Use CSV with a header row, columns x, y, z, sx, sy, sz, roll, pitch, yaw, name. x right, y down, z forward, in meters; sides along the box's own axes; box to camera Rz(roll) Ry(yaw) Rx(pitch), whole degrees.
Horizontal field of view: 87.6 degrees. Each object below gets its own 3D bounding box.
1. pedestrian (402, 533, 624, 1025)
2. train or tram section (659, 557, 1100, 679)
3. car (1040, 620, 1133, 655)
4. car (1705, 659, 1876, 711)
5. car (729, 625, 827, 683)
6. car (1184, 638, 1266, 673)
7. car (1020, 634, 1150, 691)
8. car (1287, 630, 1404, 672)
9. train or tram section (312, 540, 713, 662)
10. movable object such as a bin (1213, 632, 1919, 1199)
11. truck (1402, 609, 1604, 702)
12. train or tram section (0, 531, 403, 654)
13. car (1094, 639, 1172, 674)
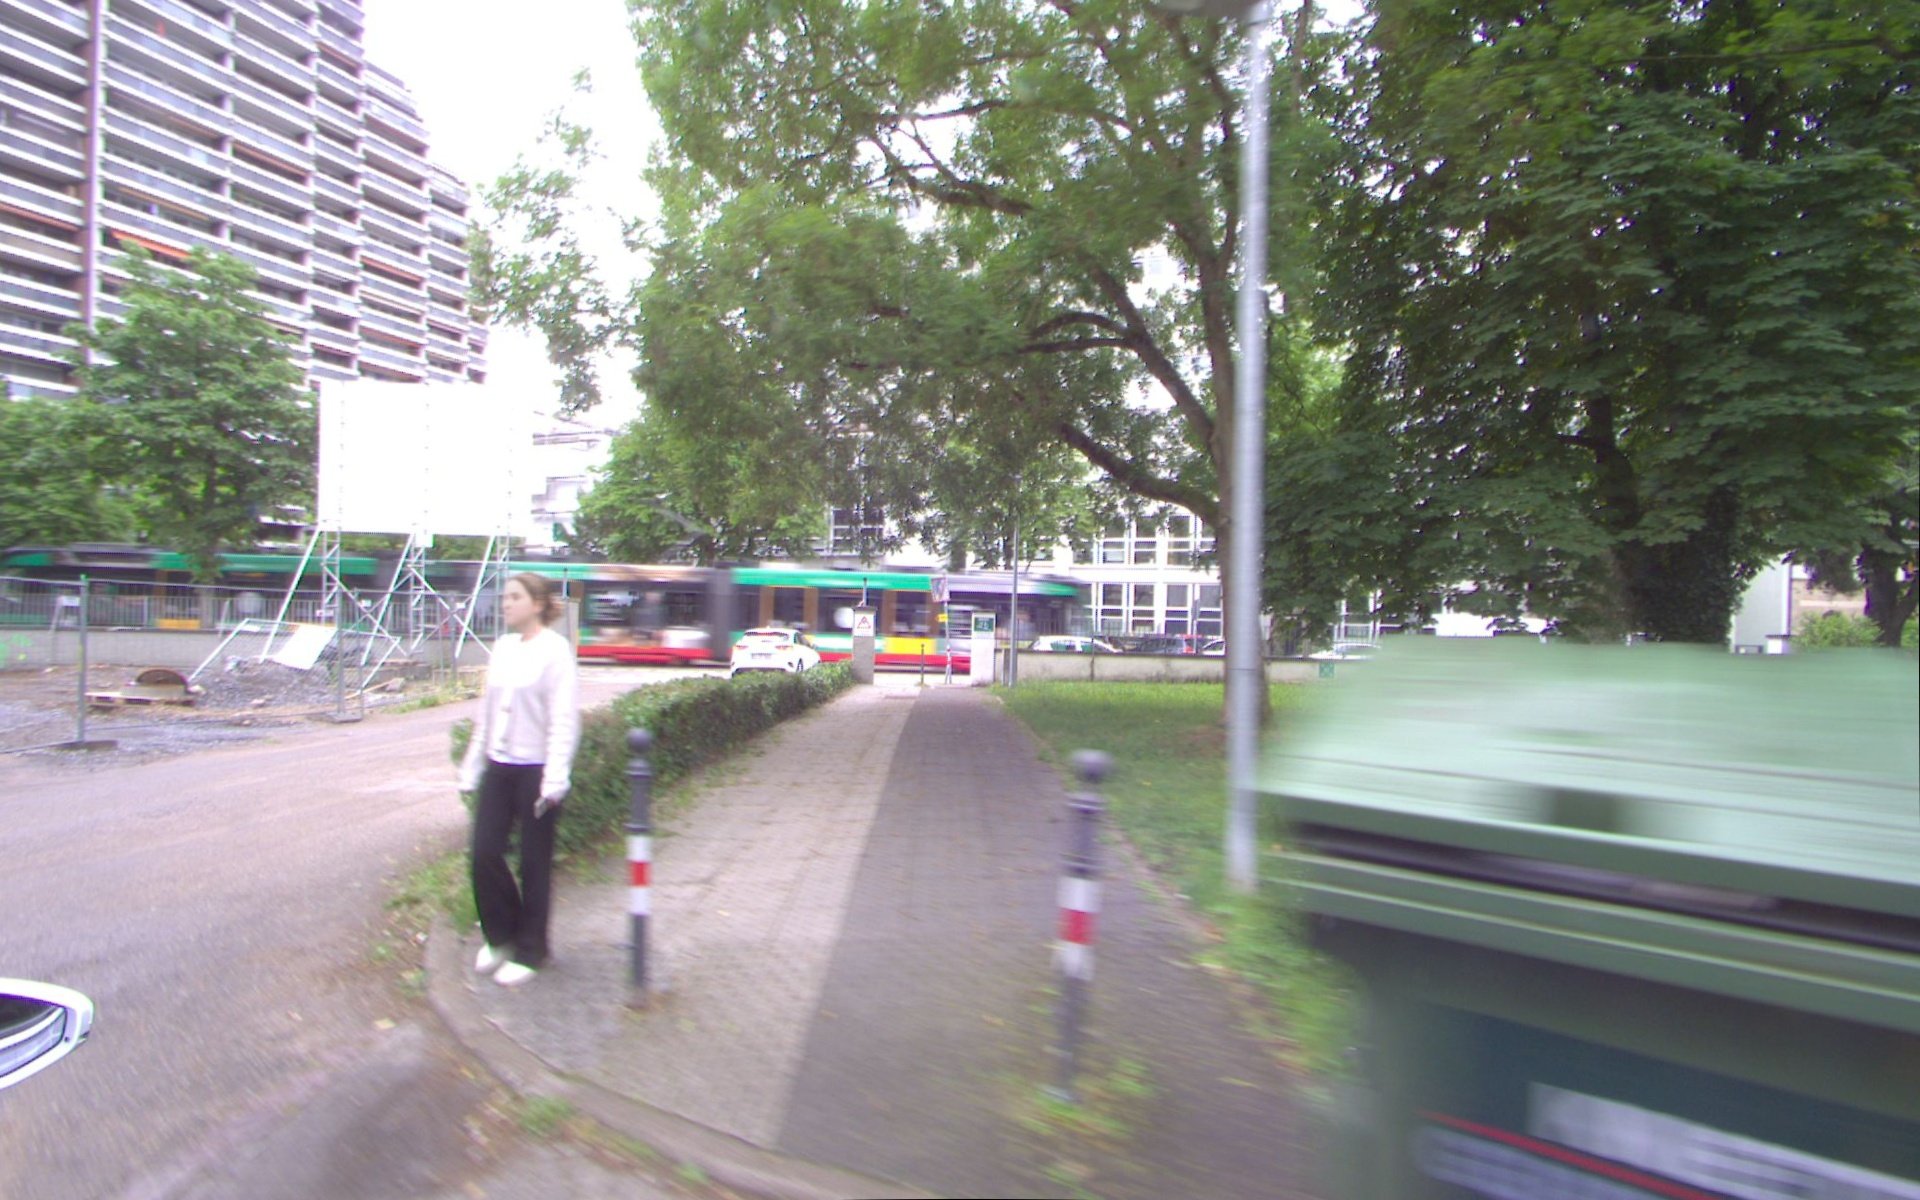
x,y,z,sx,sy,sz,roll,pitch,yaw,name
-1.830,0.672,4.132,0.740,1.804,0.660,1,-1,-25,pedestrian
-2.647,0.641,34.488,14.484,3.661,2.669,2,-1,-2,train or tram section
5.709,1.703,45.481,3.908,1.492,1.661,0,-2,41,car
24.799,2.515,29.974,3.738,1.371,1.812,2,-1,-6,car
-4.882,1.507,27.432,1.746,1.450,3.983,1,-4,3,car
12.015,2.496,45.545,3.354,1.492,1.404,0,-2,44,car
3.616,1.810,29.411,3.524,1.520,1.666,2,-1,-2,car
15.240,2.015,39.707,3.922,1.538,1.731,1,-1,-2,car
-14.870,0.076,33.995,12.215,3.661,2.669,1,-1,-2,train or tram section
1.110,0.786,1.261,1.258,1.452,1.066,1,-1,35,movable object such as a bin
16.088,1.615,29.838,4.832,2.579,2.170,1,-1,-2,truck
-25.638,-0.201,33.569,12.215,3.661,2.669,1,-1,-2,train or tram section
7.943,2.580,46.074,3.354,1.492,1.404,0,-2,44,car
